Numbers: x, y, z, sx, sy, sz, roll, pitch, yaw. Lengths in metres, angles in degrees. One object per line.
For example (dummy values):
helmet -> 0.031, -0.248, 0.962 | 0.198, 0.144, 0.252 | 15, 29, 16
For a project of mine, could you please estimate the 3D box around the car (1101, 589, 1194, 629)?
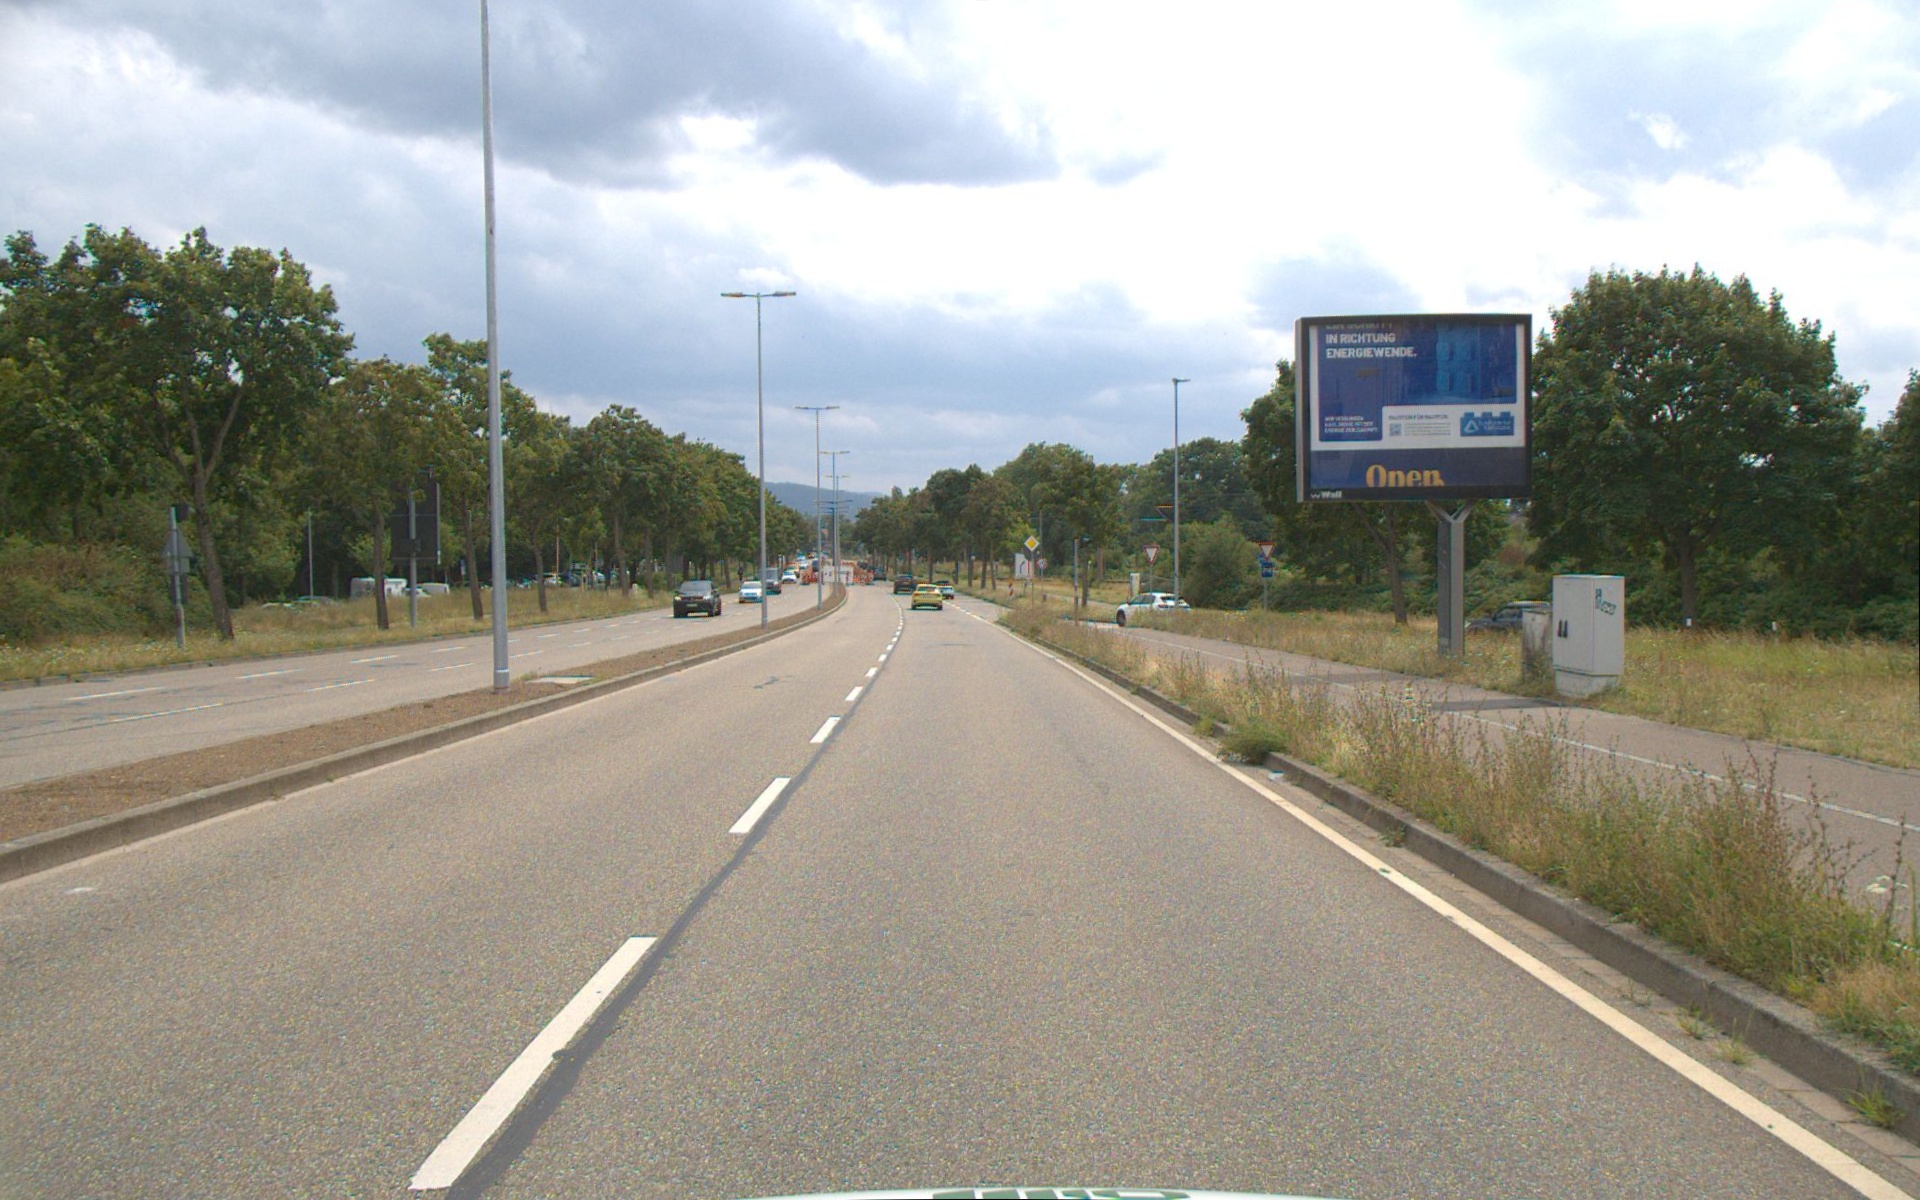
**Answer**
car -> 7.794, 0.347, 68.998 | 1.750, 1.489, 3.955 | -1, 2, -33

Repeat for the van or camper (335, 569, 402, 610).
van or camper -> -39.880, -0.743, 111.745 | 2.422, 2.585, 6.717 | 0, 2, -3

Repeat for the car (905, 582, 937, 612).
car -> -2.252, -0.177, 95.098 | 1.757, 1.589, 3.998 | 0, 2, -3

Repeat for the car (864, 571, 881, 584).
car -> -11.518, -3.000, 217.667 | 2.162, 1.713, 3.999 | 0, 2, -2

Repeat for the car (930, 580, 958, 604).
car -> -1.222, -0.645, 126.896 | 1.973, 1.699, 3.998 | 0, 2, -3

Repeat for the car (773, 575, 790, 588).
car -> -21.465, -2.223, 198.876 | 1.682, 1.444, 4.158 | -2, 2, -3

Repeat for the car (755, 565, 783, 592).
car -> -16.808, -1.897, 145.465 | 2.054, 2.239, 6.000 | -1, 1, -3

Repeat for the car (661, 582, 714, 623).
car -> -13.412, 0.105, 81.650 | 1.954, 1.843, 4.796 | -1, 2, -3

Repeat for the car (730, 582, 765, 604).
car -> -15.039, -0.509, 117.397 | 1.953, 1.455, 4.687 | -1, 1, -1

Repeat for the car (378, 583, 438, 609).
car -> -41.812, -0.315, 125.398 | 3.908, 1.920, 1.938 | 0, 1, -4

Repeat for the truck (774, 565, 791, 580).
truck -> -25.423, -3.959, 236.986 | 2.047, 2.029, 6.036 | -2, 2, -3

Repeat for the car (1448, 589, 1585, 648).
car -> 17.585, 0.563, 52.294 | 3.910, 1.697, 1.707 | 2, 1, 27

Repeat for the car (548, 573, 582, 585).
car -> -48.245, -2.550, 202.216 | 3.697, 1.450, 1.965 | 0, 2, -2

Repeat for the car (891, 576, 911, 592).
car -> -5.145, -1.400, 143.337 | 1.634, 1.292, 3.998 | 0, 2, -3
